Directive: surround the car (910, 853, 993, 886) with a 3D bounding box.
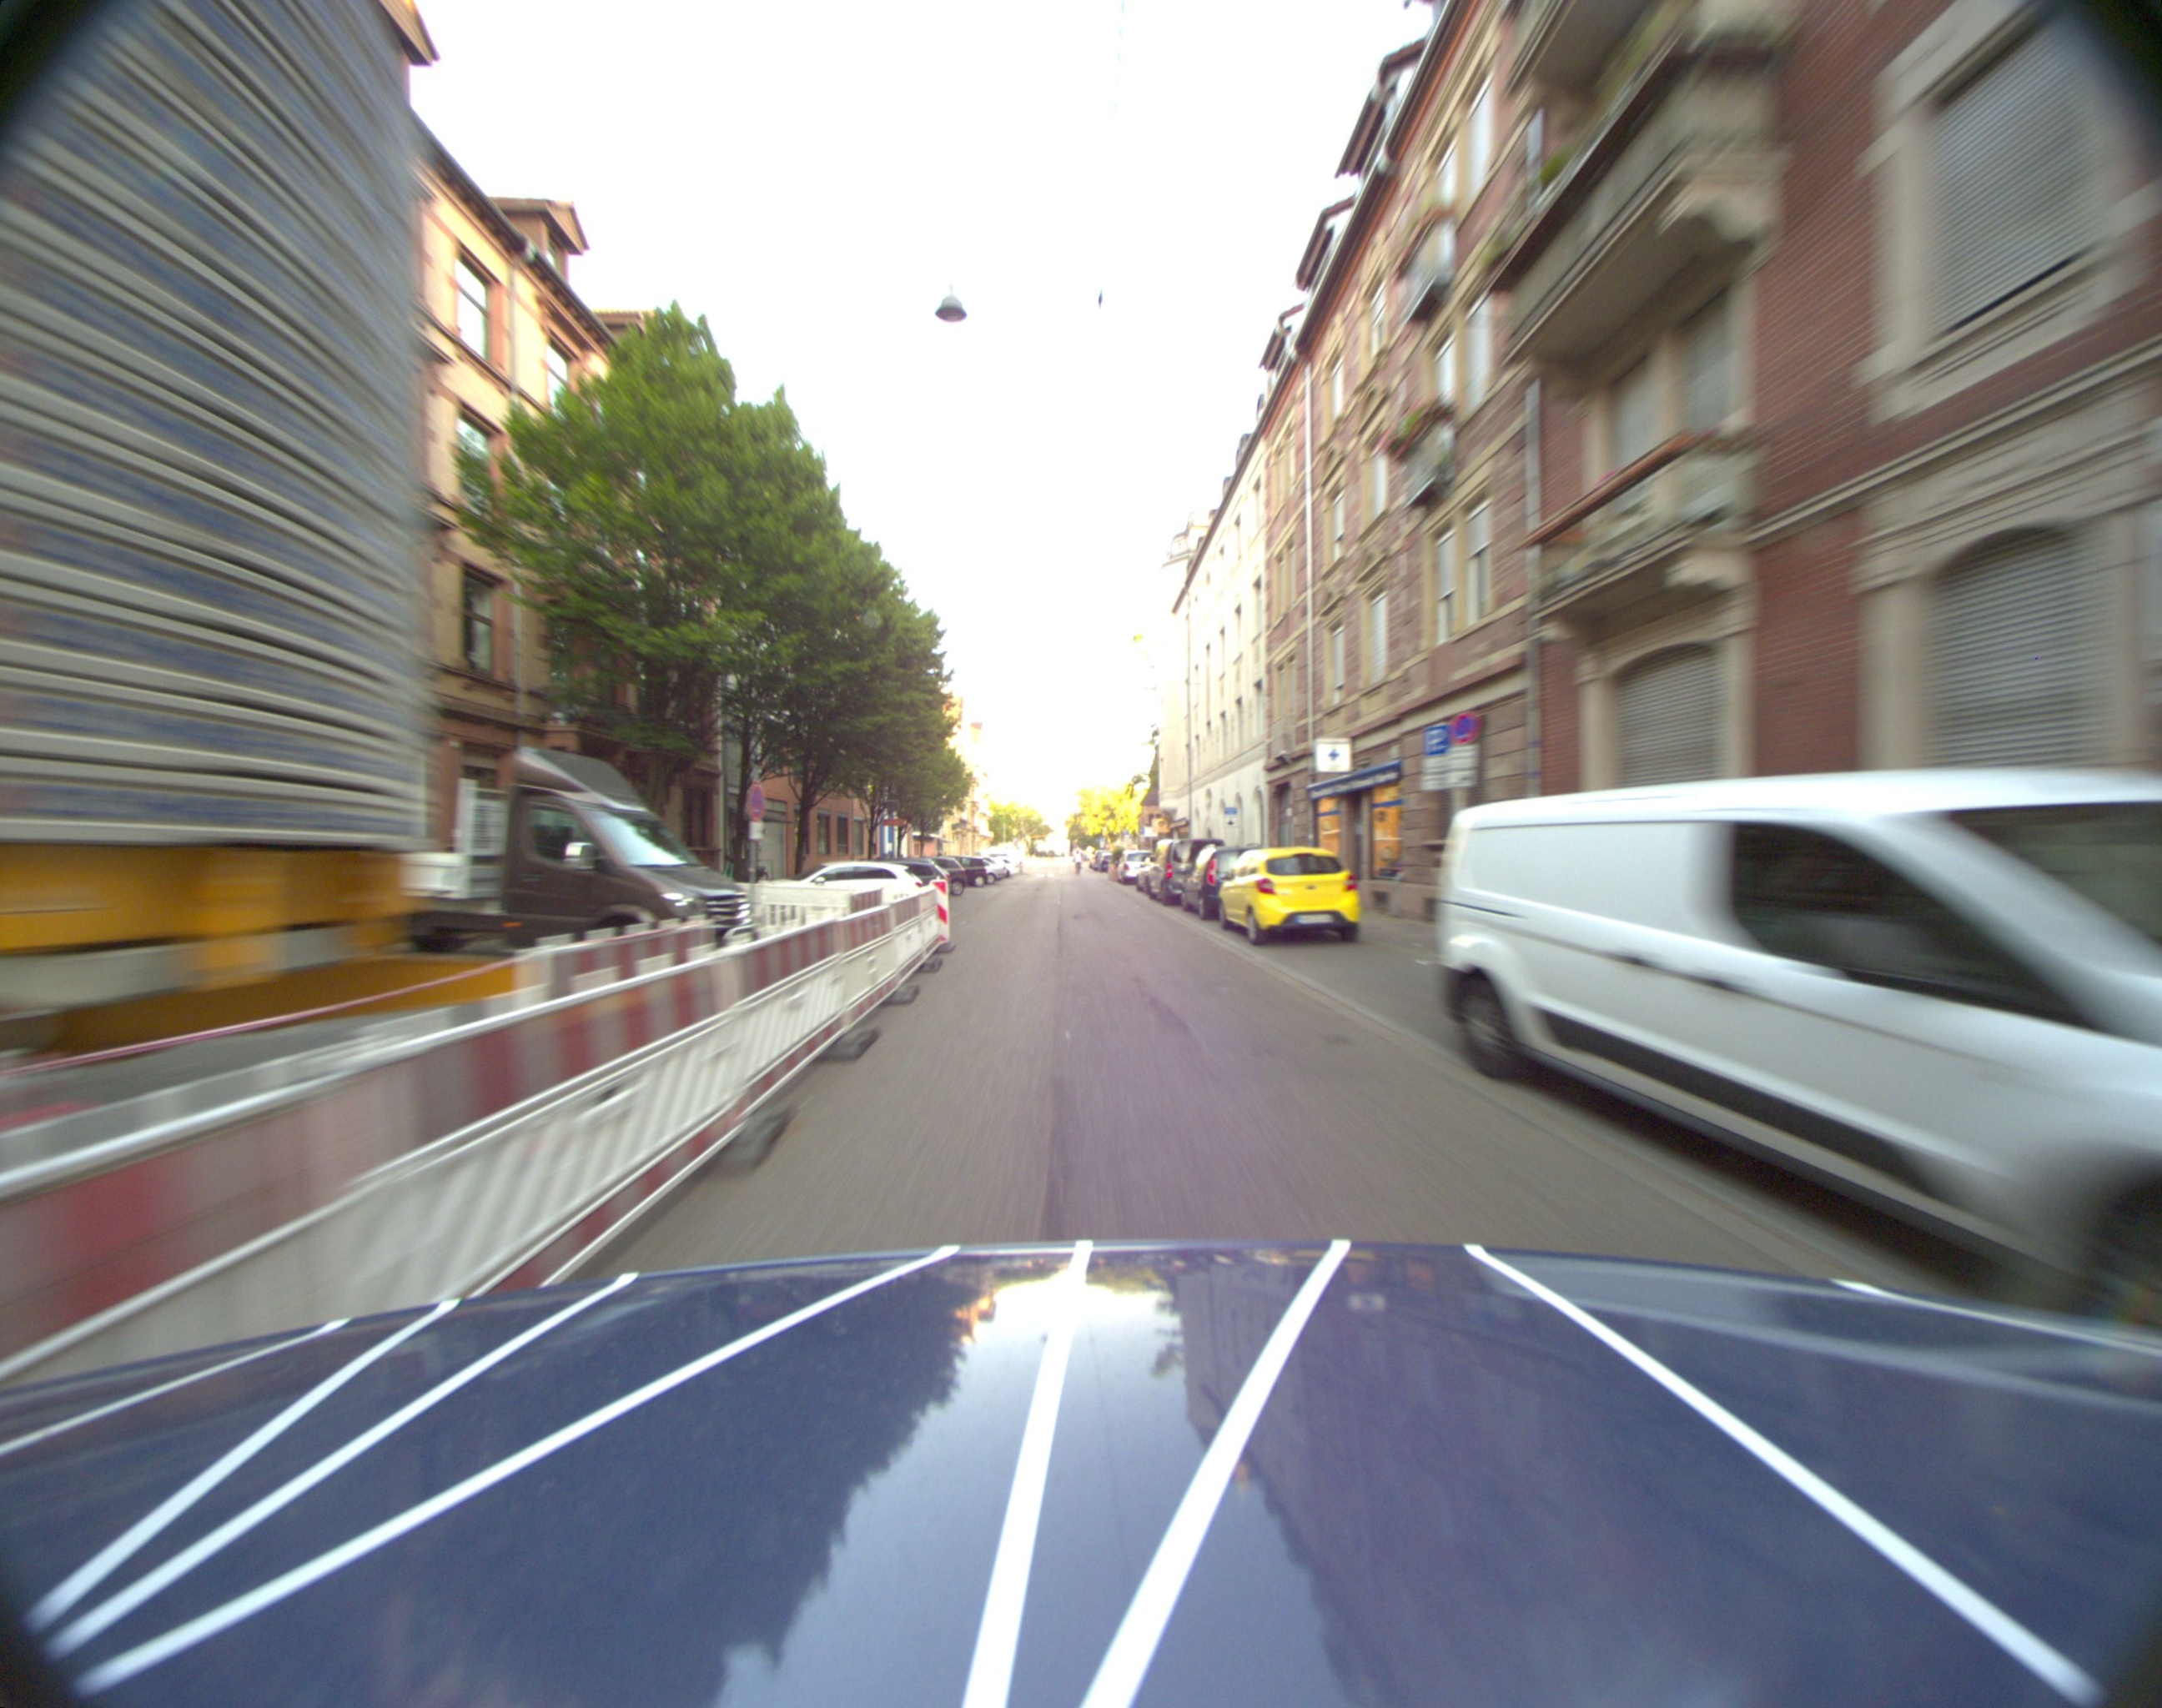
[{"bbox_3d":[-6.565,0.797,38.512,3.839,1.557,1.674,2,1,-23],"label":"car"}]

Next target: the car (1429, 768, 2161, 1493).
[{"bbox_3d":[3.455,0.638,3.079,1.775,1.778,4.585,-2,1,-3],"label":"car"}]

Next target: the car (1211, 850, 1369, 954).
[{"bbox_3d":[3.442,0.708,13.230,1.709,1.521,3.792,-1,0,0],"label":"car"}]

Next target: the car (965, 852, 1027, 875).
[{"bbox_3d":[-5.828,0.650,52.308,3.842,1.510,1.673,1,1,-34],"label":"car"}]

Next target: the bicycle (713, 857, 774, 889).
[{"bbox_3d":[-12.776,0.719,28.794,2.025,1.158,0.579,2,0,-19],"label":"bicycle"}]

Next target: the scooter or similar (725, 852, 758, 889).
[{"bbox_3d":[-12.341,0.592,27.618,0.329,1.274,1.067,-1,2,28],"label":"scooter or similar"}]

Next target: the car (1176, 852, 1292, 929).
[{"bbox_3d":[3.466,0.758,17.926,1.932,1.587,3.969,-1,0,0],"label":"car"}]

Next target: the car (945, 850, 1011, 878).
[{"bbox_3d":[-6.626,0.649,49.118,3.841,1.639,1.673,1,1,-29],"label":"car"}]

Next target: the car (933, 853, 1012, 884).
[{"bbox_3d":[-5.895,0.774,41.245,3.841,1.557,1.673,1,1,-31],"label":"car"}]

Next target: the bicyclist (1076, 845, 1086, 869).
[{"bbox_3d":[0.019,0.207,55.530,0.624,1.682,1.003,-2,1,-2],"label":"bicyclist"}]

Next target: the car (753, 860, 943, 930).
[{"bbox_3d":[-5.522,0.939,18.202,4.003,1.480,1.680,1,0,-35],"label":"car"}]

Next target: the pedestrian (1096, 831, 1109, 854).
[{"bbox_3d":[2.662,-1.429,93.895,1.445,2.725,1.011,-2,1,-2],"label":"pedestrian"}]

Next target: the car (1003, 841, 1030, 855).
[{"bbox_3d":[-10.859,-0.978,128.193,4.202,2.246,1.673,1,1,-36],"label":"car"}]

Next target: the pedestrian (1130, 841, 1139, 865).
[{"bbox_3d":[4.017,-0.079,57.216,0.566,1.723,0.562,-2,2,-2],"label":"pedestrian"}]

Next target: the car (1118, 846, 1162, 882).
[{"bbox_3d":[2.873,0.446,37.623,1.730,1.638,3.916,-2,0,-1],"label":"car"}]

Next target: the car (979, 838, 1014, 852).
[{"bbox_3d":[-10.398,-1.125,93.521,3.841,1.510,1.673,1,1,-30],"label":"car"}]

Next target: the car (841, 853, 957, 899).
[{"bbox_3d":[-6.342,0.766,26.533,3.638,1.508,1.621,1,0,-29],"label":"car"}]

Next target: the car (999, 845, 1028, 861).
[{"bbox_3d":[-10.631,-0.140,119.768,4.202,2.280,1.673,1,1,-40],"label":"car"}]

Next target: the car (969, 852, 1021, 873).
[{"bbox_3d":[-6.799,0.656,60.083,3.838,1.510,1.675,2,1,-17],"label":"car"}]

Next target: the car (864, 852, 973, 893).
[{"bbox_3d":[-6.301,0.721,29.592,3.807,1.508,1.646,1,0,-34],"label":"car"}]

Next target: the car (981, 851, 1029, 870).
[{"bbox_3d":[-6.537,0.566,65.097,3.838,1.510,1.675,2,1,-17],"label":"car"}]

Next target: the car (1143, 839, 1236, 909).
[{"bbox_3d":[3.167,0.536,23.162,1.932,1.872,4.904,-1,0,-2],"label":"car"}]

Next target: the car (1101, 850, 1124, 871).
[{"bbox_3d":[2.607,0.529,63.558,1.786,1.538,3.999,-2,1,0],"label":"car"}]

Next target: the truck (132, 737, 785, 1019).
[{"bbox_3d":[-7.736,0.282,10.062,6.496,3.059,2.524,-2,1,2],"label":"truck"}]

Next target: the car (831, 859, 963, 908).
[{"bbox_3d":[-5.829,0.922,24.167,3.639,1.412,1.826,1,0,-33],"label":"car"}]

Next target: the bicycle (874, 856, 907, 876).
[{"bbox_3d":[-11.169,0.700,44.648,1.770,1.094,0.546,3,1,-8],"label":"bicycle"}]

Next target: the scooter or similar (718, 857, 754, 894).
[{"bbox_3d":[-12.139,0.747,26.772,0.329,1.274,1.068,-1,2,36],"label":"scooter or similar"}]

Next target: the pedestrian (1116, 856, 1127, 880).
[{"bbox_3d":[2.261,0.762,42.483,0.571,1.315,0.496,-2,1,-2],"label":"pedestrian"}]

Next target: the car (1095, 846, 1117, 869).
[{"bbox_3d":[2.195,0.299,68.525,1.786,1.860,4.456,-2,1,0],"label":"car"}]

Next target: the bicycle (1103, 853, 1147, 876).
[{"bbox_3d":[2.786,0.680,48.065,2.619,1.390,0.602,-2,1,11],"label":"bicycle"}]

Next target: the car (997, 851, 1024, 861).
[{"bbox_3d":[-10.812,0.301,116.643,3.842,1.510,1.673,1,1,-36],"label":"car"}]

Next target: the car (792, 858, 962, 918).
[{"bbox_3d":[-5.626,0.910,21.185,4.179,1.480,1.826,1,0,-37],"label":"car"}]

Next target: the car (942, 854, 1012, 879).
[{"bbox_3d":[-6.325,0.780,46.393,3.841,1.422,1.673,1,1,-31],"label":"car"}]

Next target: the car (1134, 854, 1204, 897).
[{"bbox_3d":[3.213,0.750,28.538,1.932,1.422,4.480,-1,0,-2],"label":"car"}]

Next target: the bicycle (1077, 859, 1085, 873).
[{"bbox_3d":[-0.007,0.901,55.675,0.477,0.938,1.895,-2,1,-2],"label":"bicycle"}]

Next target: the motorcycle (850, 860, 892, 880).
[{"bbox_3d":[-10.739,0.790,38.861,1.984,0.921,0.591,3,1,12],"label":"motorcycle"}]
